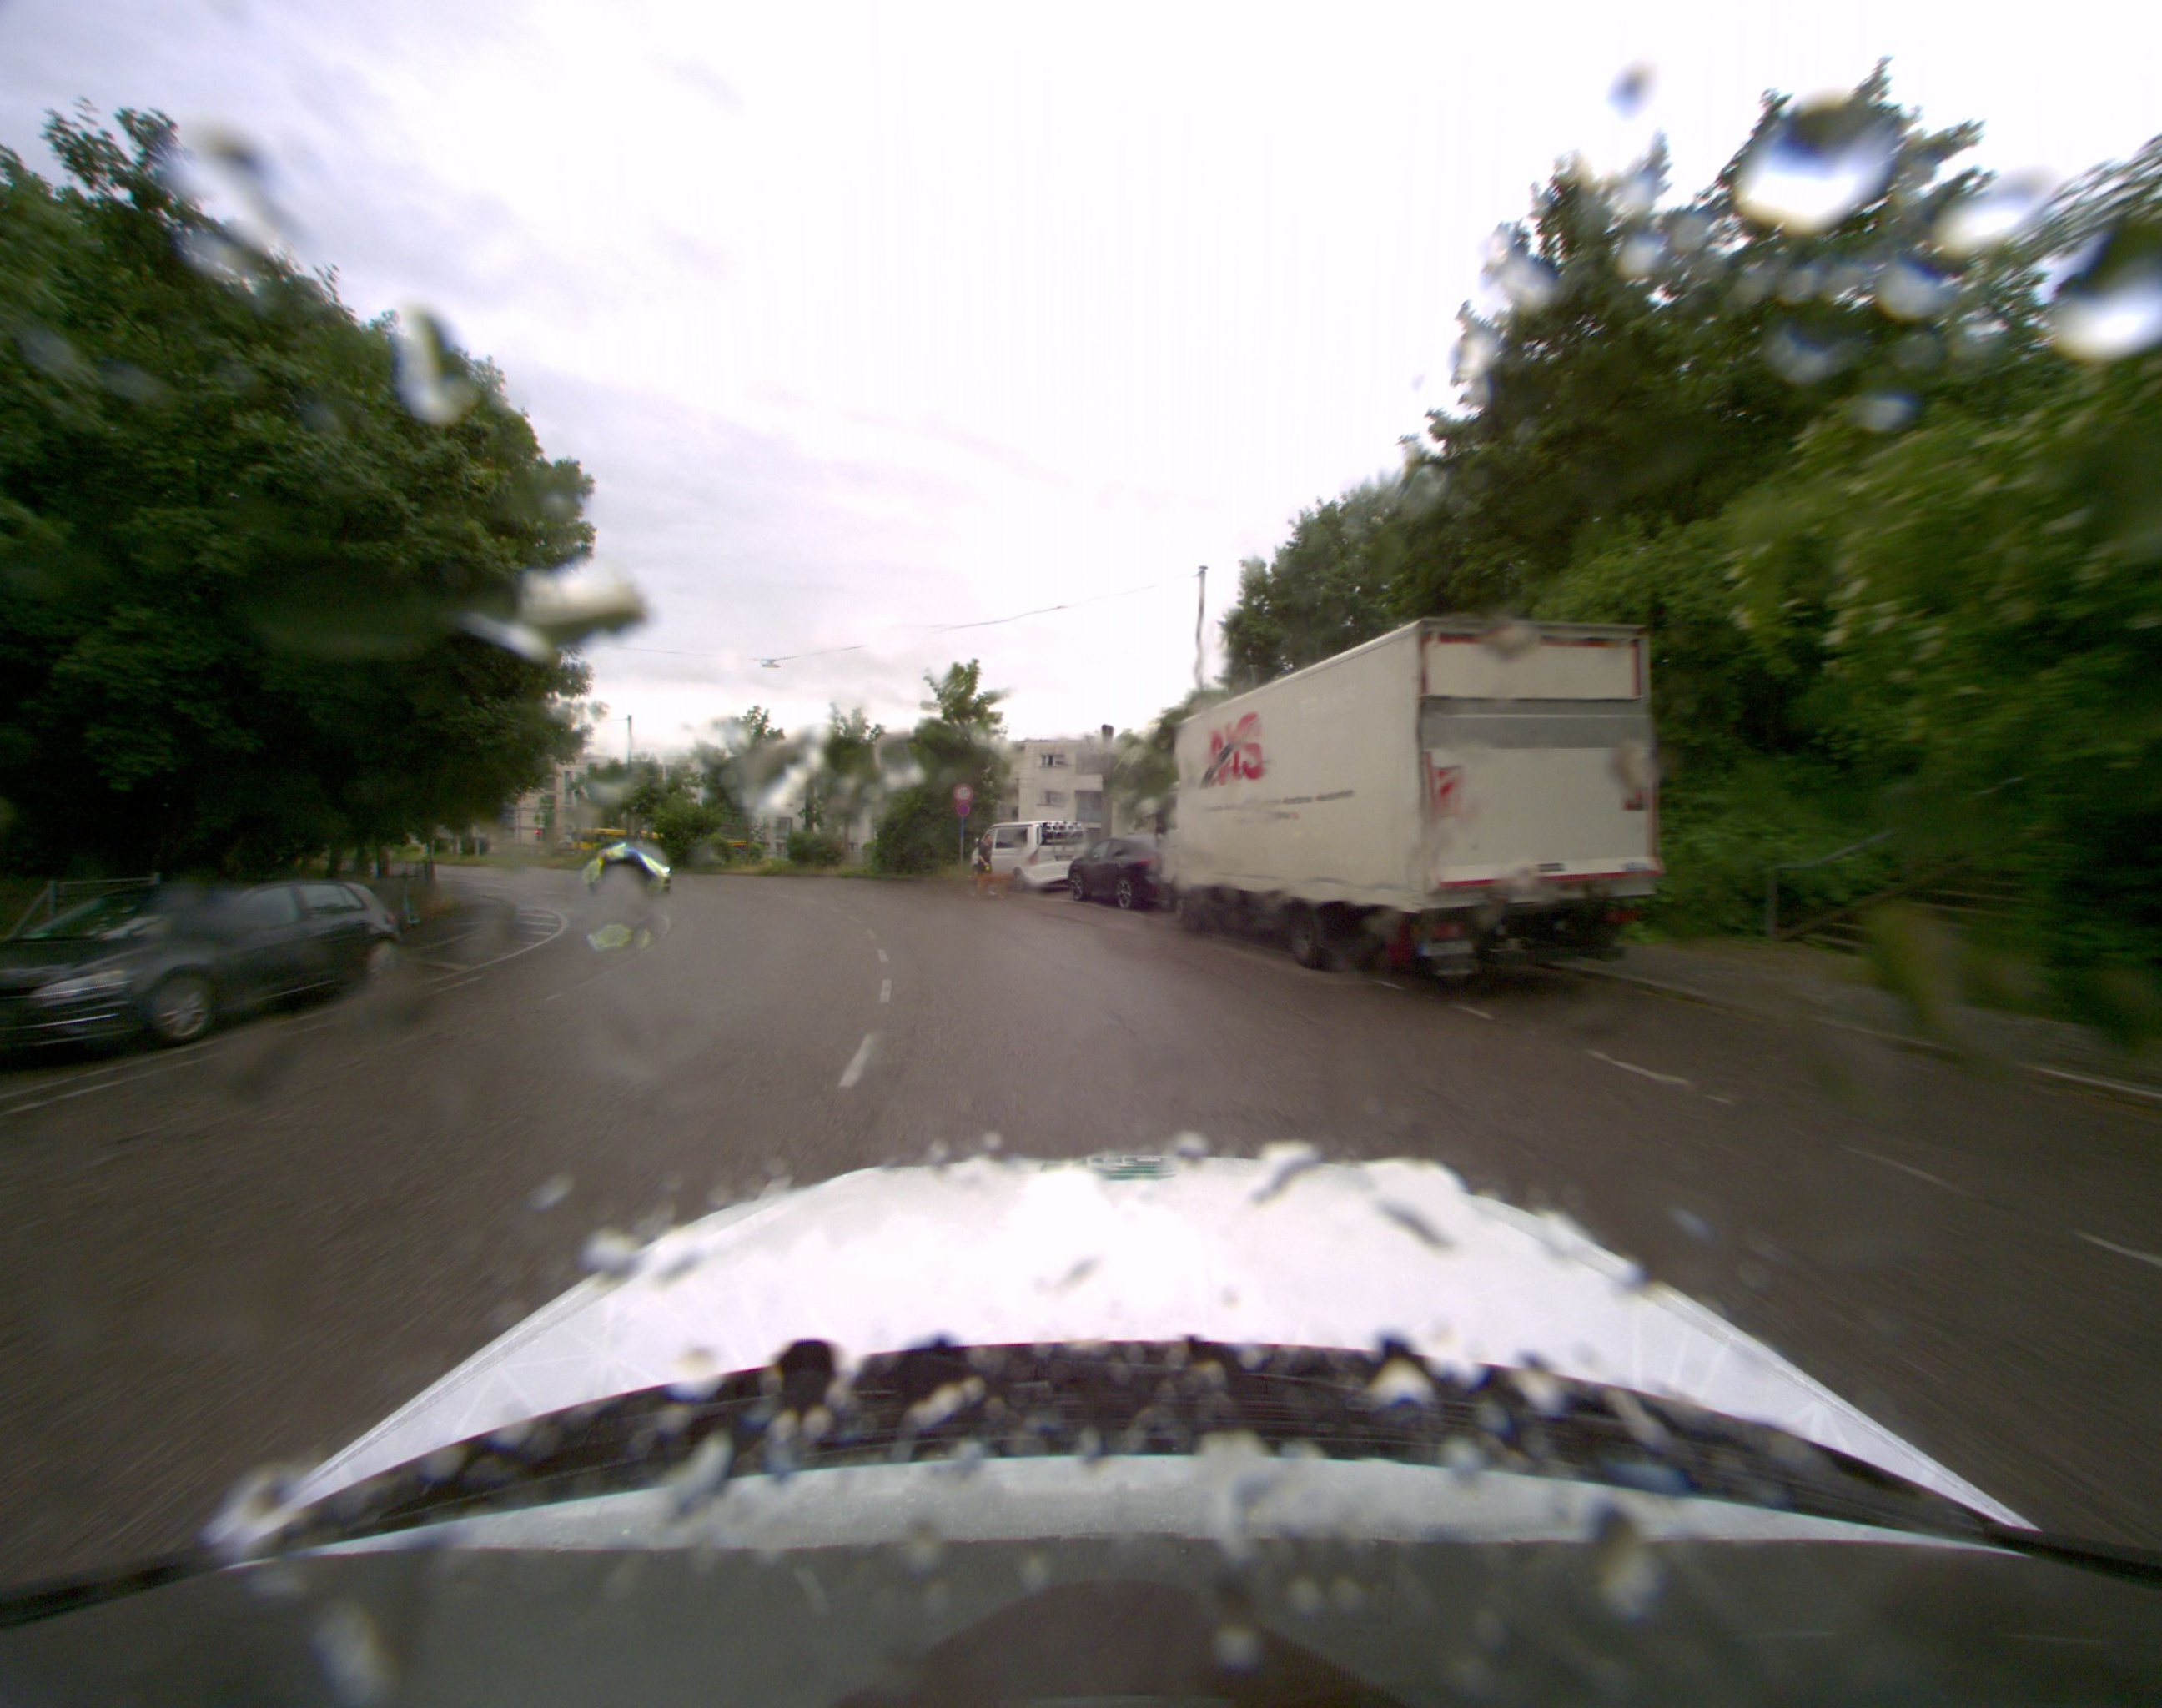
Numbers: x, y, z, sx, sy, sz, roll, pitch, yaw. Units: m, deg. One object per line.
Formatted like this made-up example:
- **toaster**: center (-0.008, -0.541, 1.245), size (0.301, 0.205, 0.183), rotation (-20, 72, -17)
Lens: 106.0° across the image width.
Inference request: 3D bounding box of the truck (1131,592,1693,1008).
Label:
- **truck**: center (3.382, -0.563, 11.416), size (3.011, 3.573, 8.299), rotation (-2, 1, -13)

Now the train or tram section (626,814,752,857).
- **train or tram section**: center (-40.077, -1.776, 82.535), size (19.032, 3.947, 3.363), rotation (0, 1, 38)

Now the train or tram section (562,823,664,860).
- **train or tram section**: center (-54.007, -1.412, 93.533), size (18.570, 3.947, 3.363), rotation (0, 1, 38)

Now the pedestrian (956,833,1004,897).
- **pedestrian**: center (-2.739, 0.288, 22.105), size (0.913, 1.661, 0.810), rotation (-1, 3, 37)

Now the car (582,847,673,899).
- **car**: center (-16.517, 0.612, 29.551), size (1.834, 1.669, 4.257), rotation (-4, 3, -43)

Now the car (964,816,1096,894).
- **car**: center (-1.628, -0.025, 24.079), size (1.889, 2.013, 4.645), rotation (-3, 2, -31)

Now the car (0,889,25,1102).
- **car**: center (-8.190, 0.988, 3.637), size (1.748, 1.456, 4.042), rotation (-1, 0, -3)

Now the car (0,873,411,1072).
- **car**: center (-9.109, 0.994, 8.317), size (1.774, 1.443, 4.000), rotation (-1, 0, -11)

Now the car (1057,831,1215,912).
- **car**: center (1.100, 0.318, 18.438), size (1.727, 1.555, 4.242), rotation (-3, 2, -25)

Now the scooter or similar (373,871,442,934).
- **scooter or similar**: center (-14.817, 1.045, 17.956), size (0.609, 1.268, 1.429), rotation (3, -1, -17)
